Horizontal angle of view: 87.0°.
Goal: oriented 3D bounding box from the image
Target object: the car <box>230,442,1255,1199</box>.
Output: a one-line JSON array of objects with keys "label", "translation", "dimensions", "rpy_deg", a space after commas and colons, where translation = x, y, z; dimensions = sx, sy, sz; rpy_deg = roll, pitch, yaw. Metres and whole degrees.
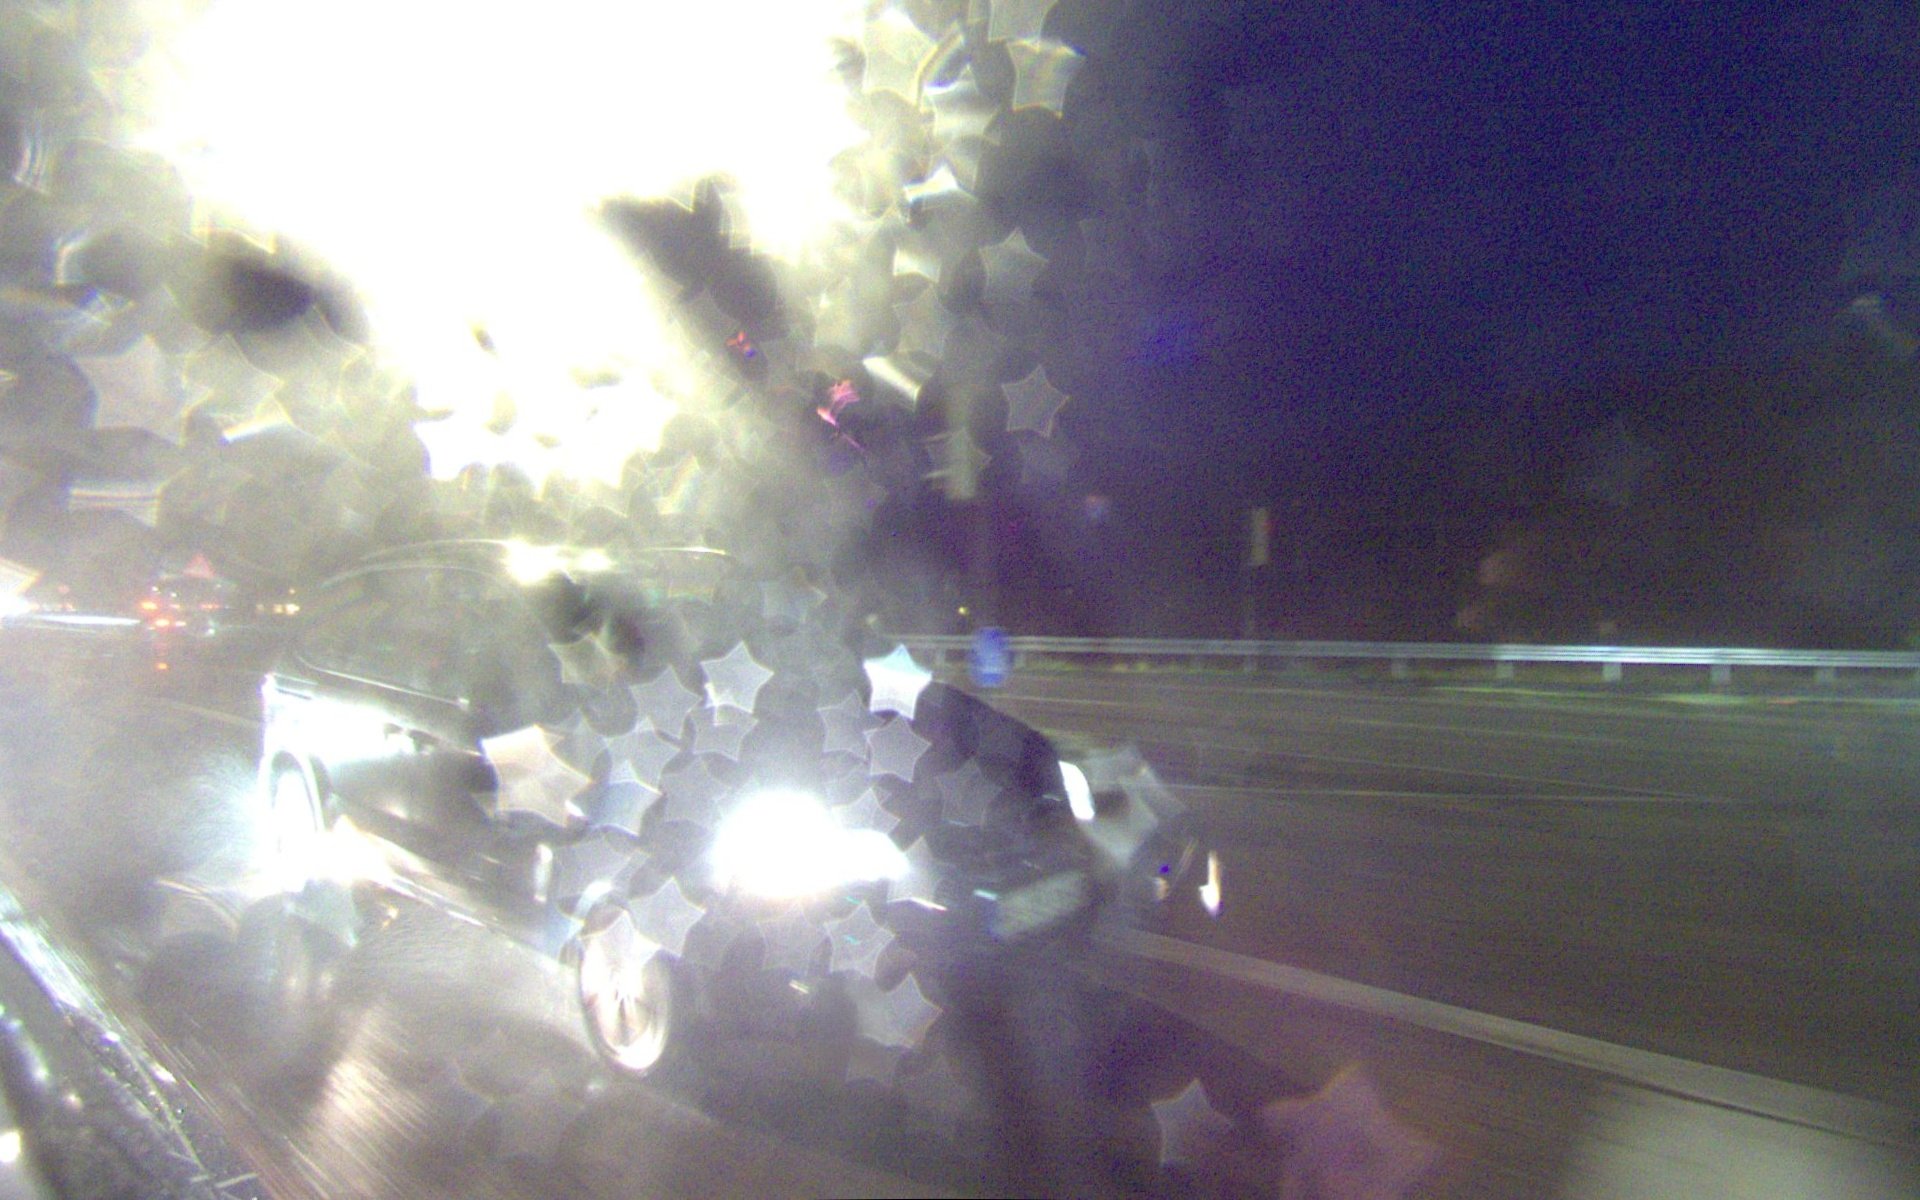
[{"label": "car", "translation": [-1.413, 0.522, 4.527], "dimensions": [4.935, 1.716, 1.890], "rpy_deg": [0, -1, 40]}]

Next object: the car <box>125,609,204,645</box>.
[{"label": "car", "translation": [-35.642, 1.200, 45.333], "dimensions": [4.367, 1.510, 1.638], "rpy_deg": [0, -3, 37]}]
